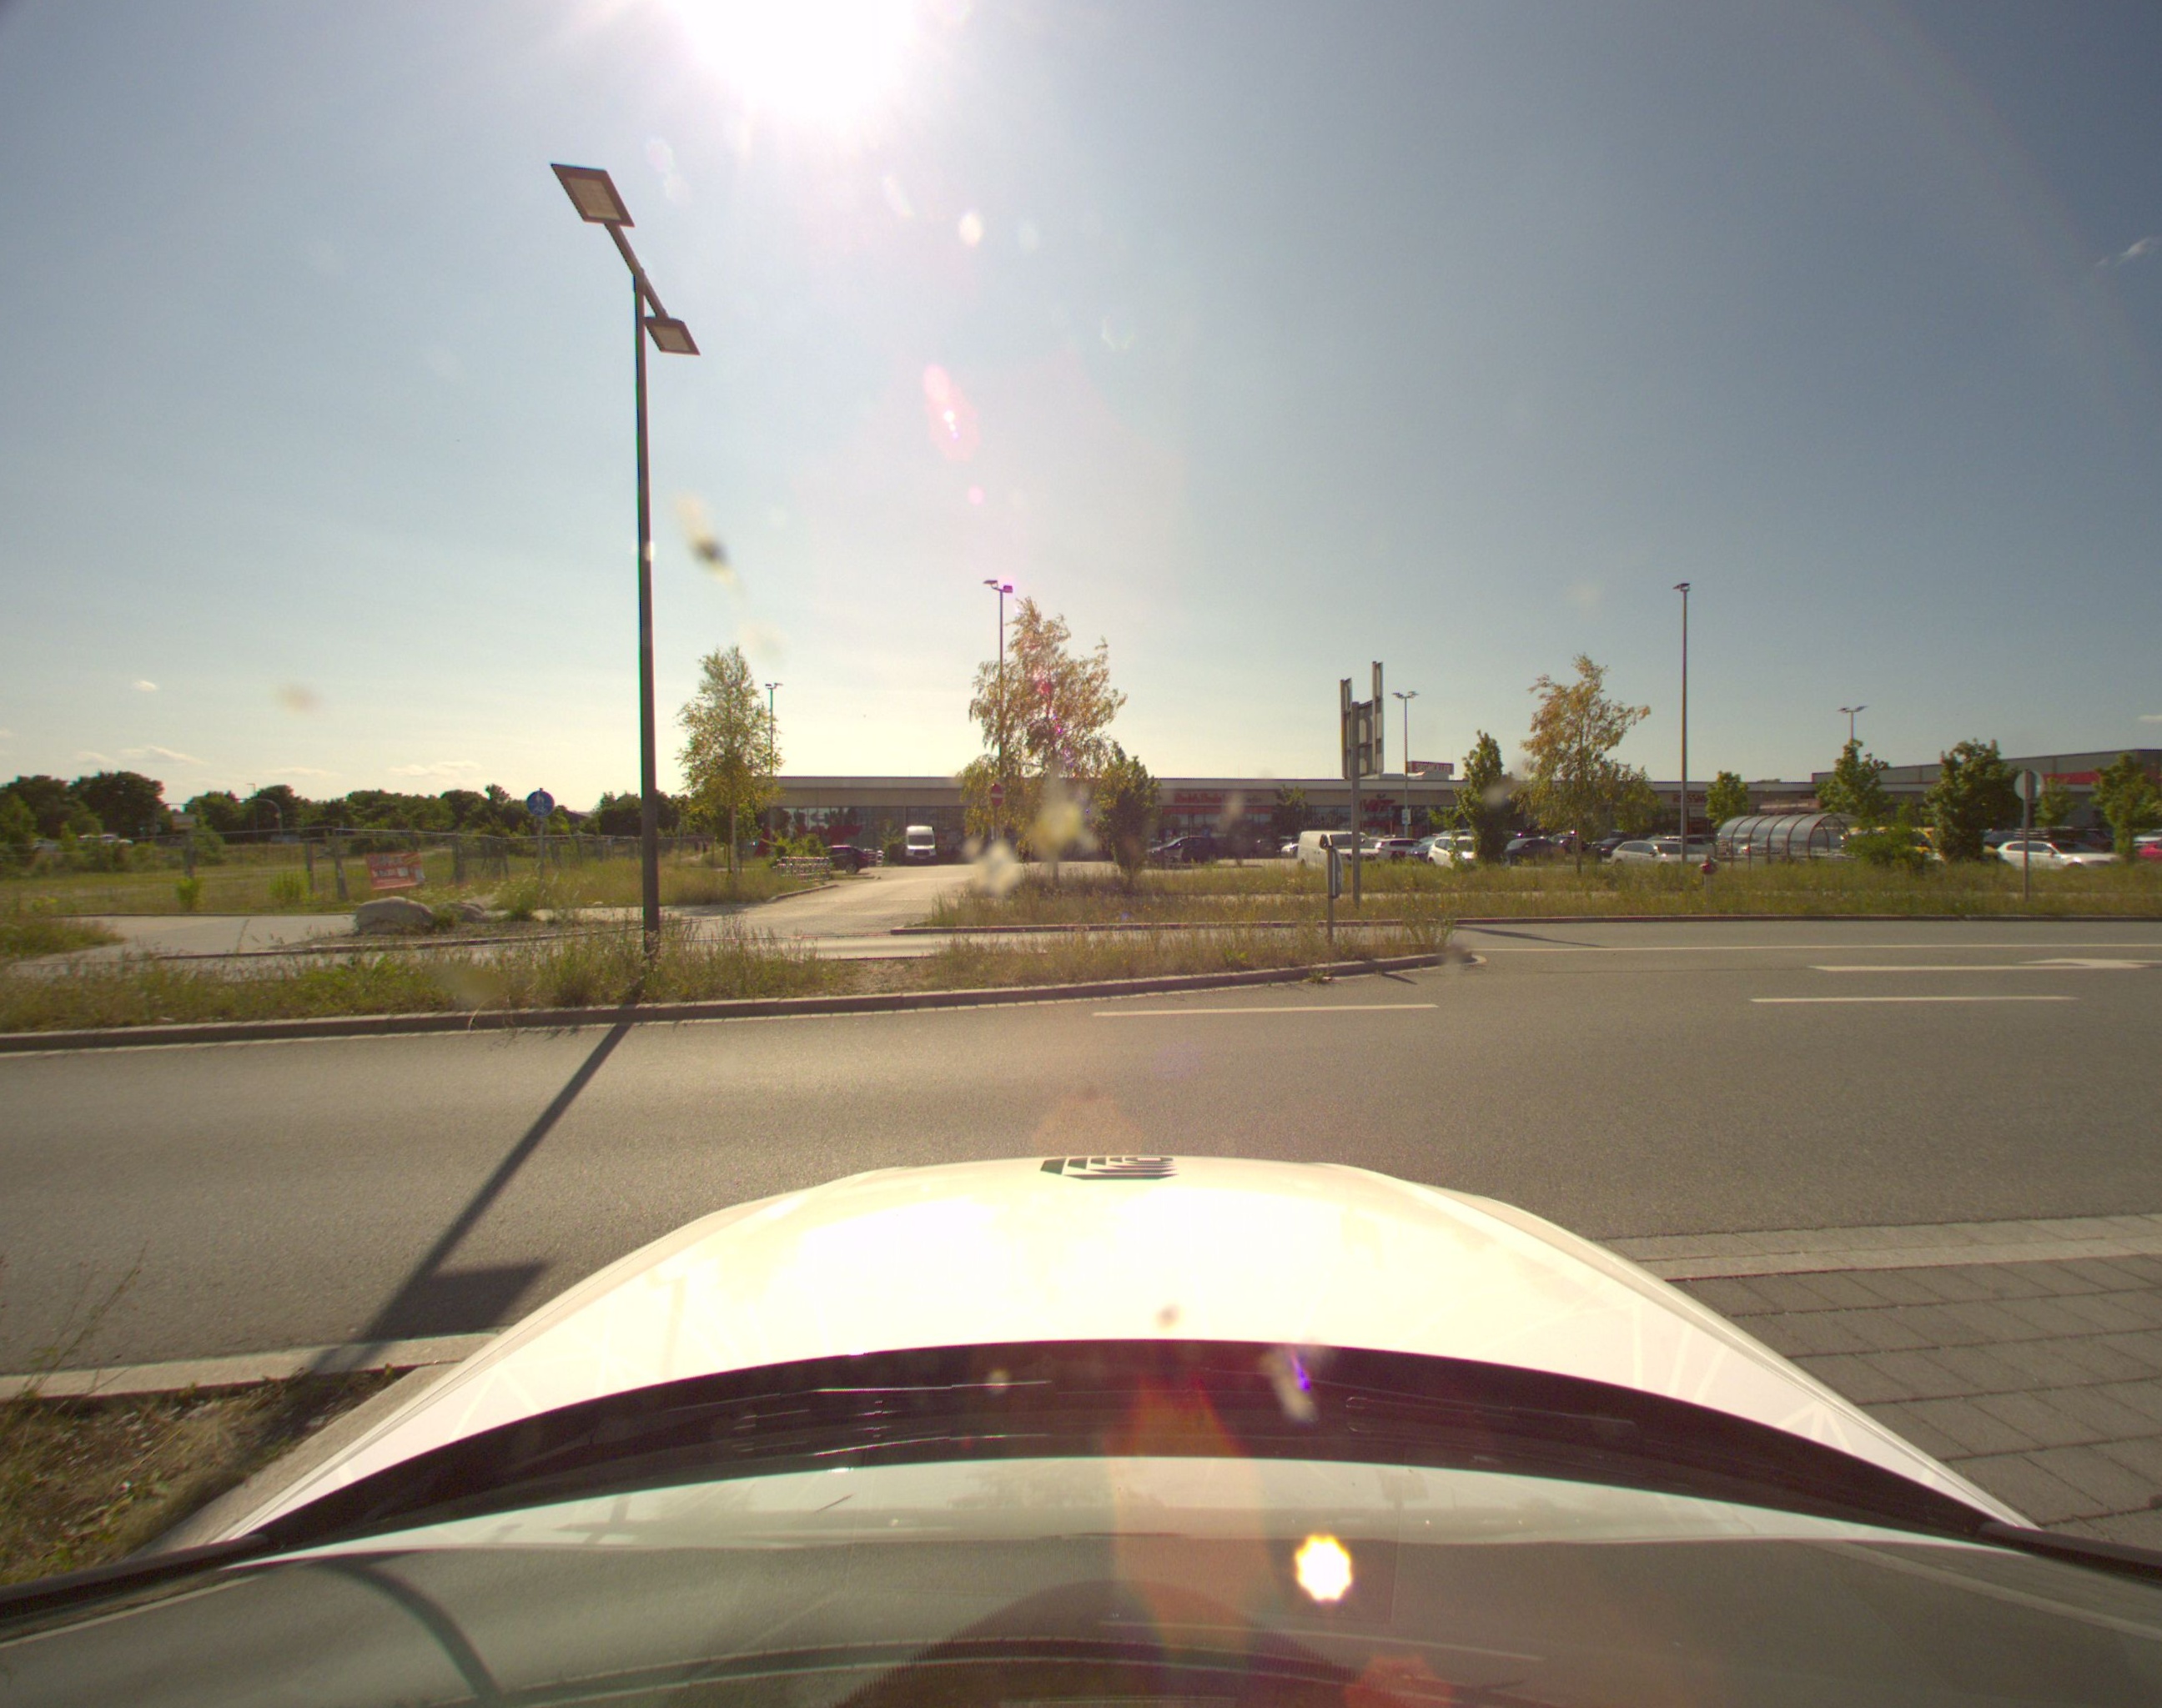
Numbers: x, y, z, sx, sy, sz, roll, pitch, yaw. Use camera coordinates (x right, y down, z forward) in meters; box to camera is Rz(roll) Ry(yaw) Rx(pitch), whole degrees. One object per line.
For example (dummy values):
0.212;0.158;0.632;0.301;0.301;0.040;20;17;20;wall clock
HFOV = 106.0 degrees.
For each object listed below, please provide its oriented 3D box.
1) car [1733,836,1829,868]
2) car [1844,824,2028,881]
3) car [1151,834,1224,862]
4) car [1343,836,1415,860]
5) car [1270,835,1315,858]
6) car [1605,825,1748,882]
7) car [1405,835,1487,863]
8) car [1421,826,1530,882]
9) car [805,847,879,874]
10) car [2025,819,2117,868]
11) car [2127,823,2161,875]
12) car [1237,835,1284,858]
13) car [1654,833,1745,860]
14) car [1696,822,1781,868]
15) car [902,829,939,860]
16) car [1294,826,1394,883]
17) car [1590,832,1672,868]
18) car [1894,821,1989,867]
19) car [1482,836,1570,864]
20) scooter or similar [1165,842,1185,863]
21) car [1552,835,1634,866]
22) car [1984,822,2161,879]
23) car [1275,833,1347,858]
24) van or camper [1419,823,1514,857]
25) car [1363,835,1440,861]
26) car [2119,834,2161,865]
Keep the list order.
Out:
41.776;-0.138;48.655;4.470;1.863;1.993;0;0;-10;car
32.824;-0.097;31.550;2.146;2.013;5.126;0;1;7;car
6.034;-0.361;46.275;3.794;1.508;1.726;-1;1;-10;car
17.758;-0.384;48.609;3.724;1.390;1.724;-1;1;-14;car
16.046;-0.588;62.005;1.991;1.707;3.991;-1;1;-7;car
23.117;-0.068;31.917;2.148;2.013;5.122;0;1;4;car
19.339;-0.279;43.159;3.724;1.390;1.724;-1;1;-14;car
15.327;-0.043;31.987;2.148;2.013;5.122;0;1;4;car
-13.121;0.353;44.959;3.838;1.423;1.764;0;0;-14;car
59.916;-0.636;49.293;4.479;2.821;1.989;0;0;-16;car
42.667;-0.181;30.559;1.866;2.013;4.149;0;1;9;car
13.446;-0.595;61.266;1.994;1.707;3.985;-1;1;-11;car
35.910;-0.441;47.311;4.334;1.520;1.651;0;0;-9;car
41.527;-0.594;51.466;4.479;2.821;1.989;0;0;-16;car
-11.278;-0.684;57.030;2.225;1.977;6.665;-1;1;-14;car
10.123;-0.027;31.783;2.075;2.013;5.225;0;1;-2;car
35.287;-0.266;52.269;4.479;2.191;1.989;0;0;-16;car
53.657;-0.629;50.791;4.470;2.821;1.993;0;0;-10;car
24.447;-0.234;44.784;3.986;1.508;1.869;0;0;-9;car
5.123;-0.084;44.426;0.942;1.079;0.651;-1;1;-6;scooter or similar
34.737;-0.248;55.319;4.464;2.102;1.996;0;0;-6;car
37.845;-0.176;31.200;1.927;2.013;4.419;0;1;7;car
15.936;-0.624;56.628;4.467;1.706;1.870;0;0;-7;car
23.705;-0.875;50.139;5.032;2.013;1.995;-1;1;-8;van or camper
17.910;-0.336;45.569;3.724;1.390;1.724;-1;1;-14;car
72.972;-0.339;54.847;4.470;2.037;1.993;0;0;-10;car
